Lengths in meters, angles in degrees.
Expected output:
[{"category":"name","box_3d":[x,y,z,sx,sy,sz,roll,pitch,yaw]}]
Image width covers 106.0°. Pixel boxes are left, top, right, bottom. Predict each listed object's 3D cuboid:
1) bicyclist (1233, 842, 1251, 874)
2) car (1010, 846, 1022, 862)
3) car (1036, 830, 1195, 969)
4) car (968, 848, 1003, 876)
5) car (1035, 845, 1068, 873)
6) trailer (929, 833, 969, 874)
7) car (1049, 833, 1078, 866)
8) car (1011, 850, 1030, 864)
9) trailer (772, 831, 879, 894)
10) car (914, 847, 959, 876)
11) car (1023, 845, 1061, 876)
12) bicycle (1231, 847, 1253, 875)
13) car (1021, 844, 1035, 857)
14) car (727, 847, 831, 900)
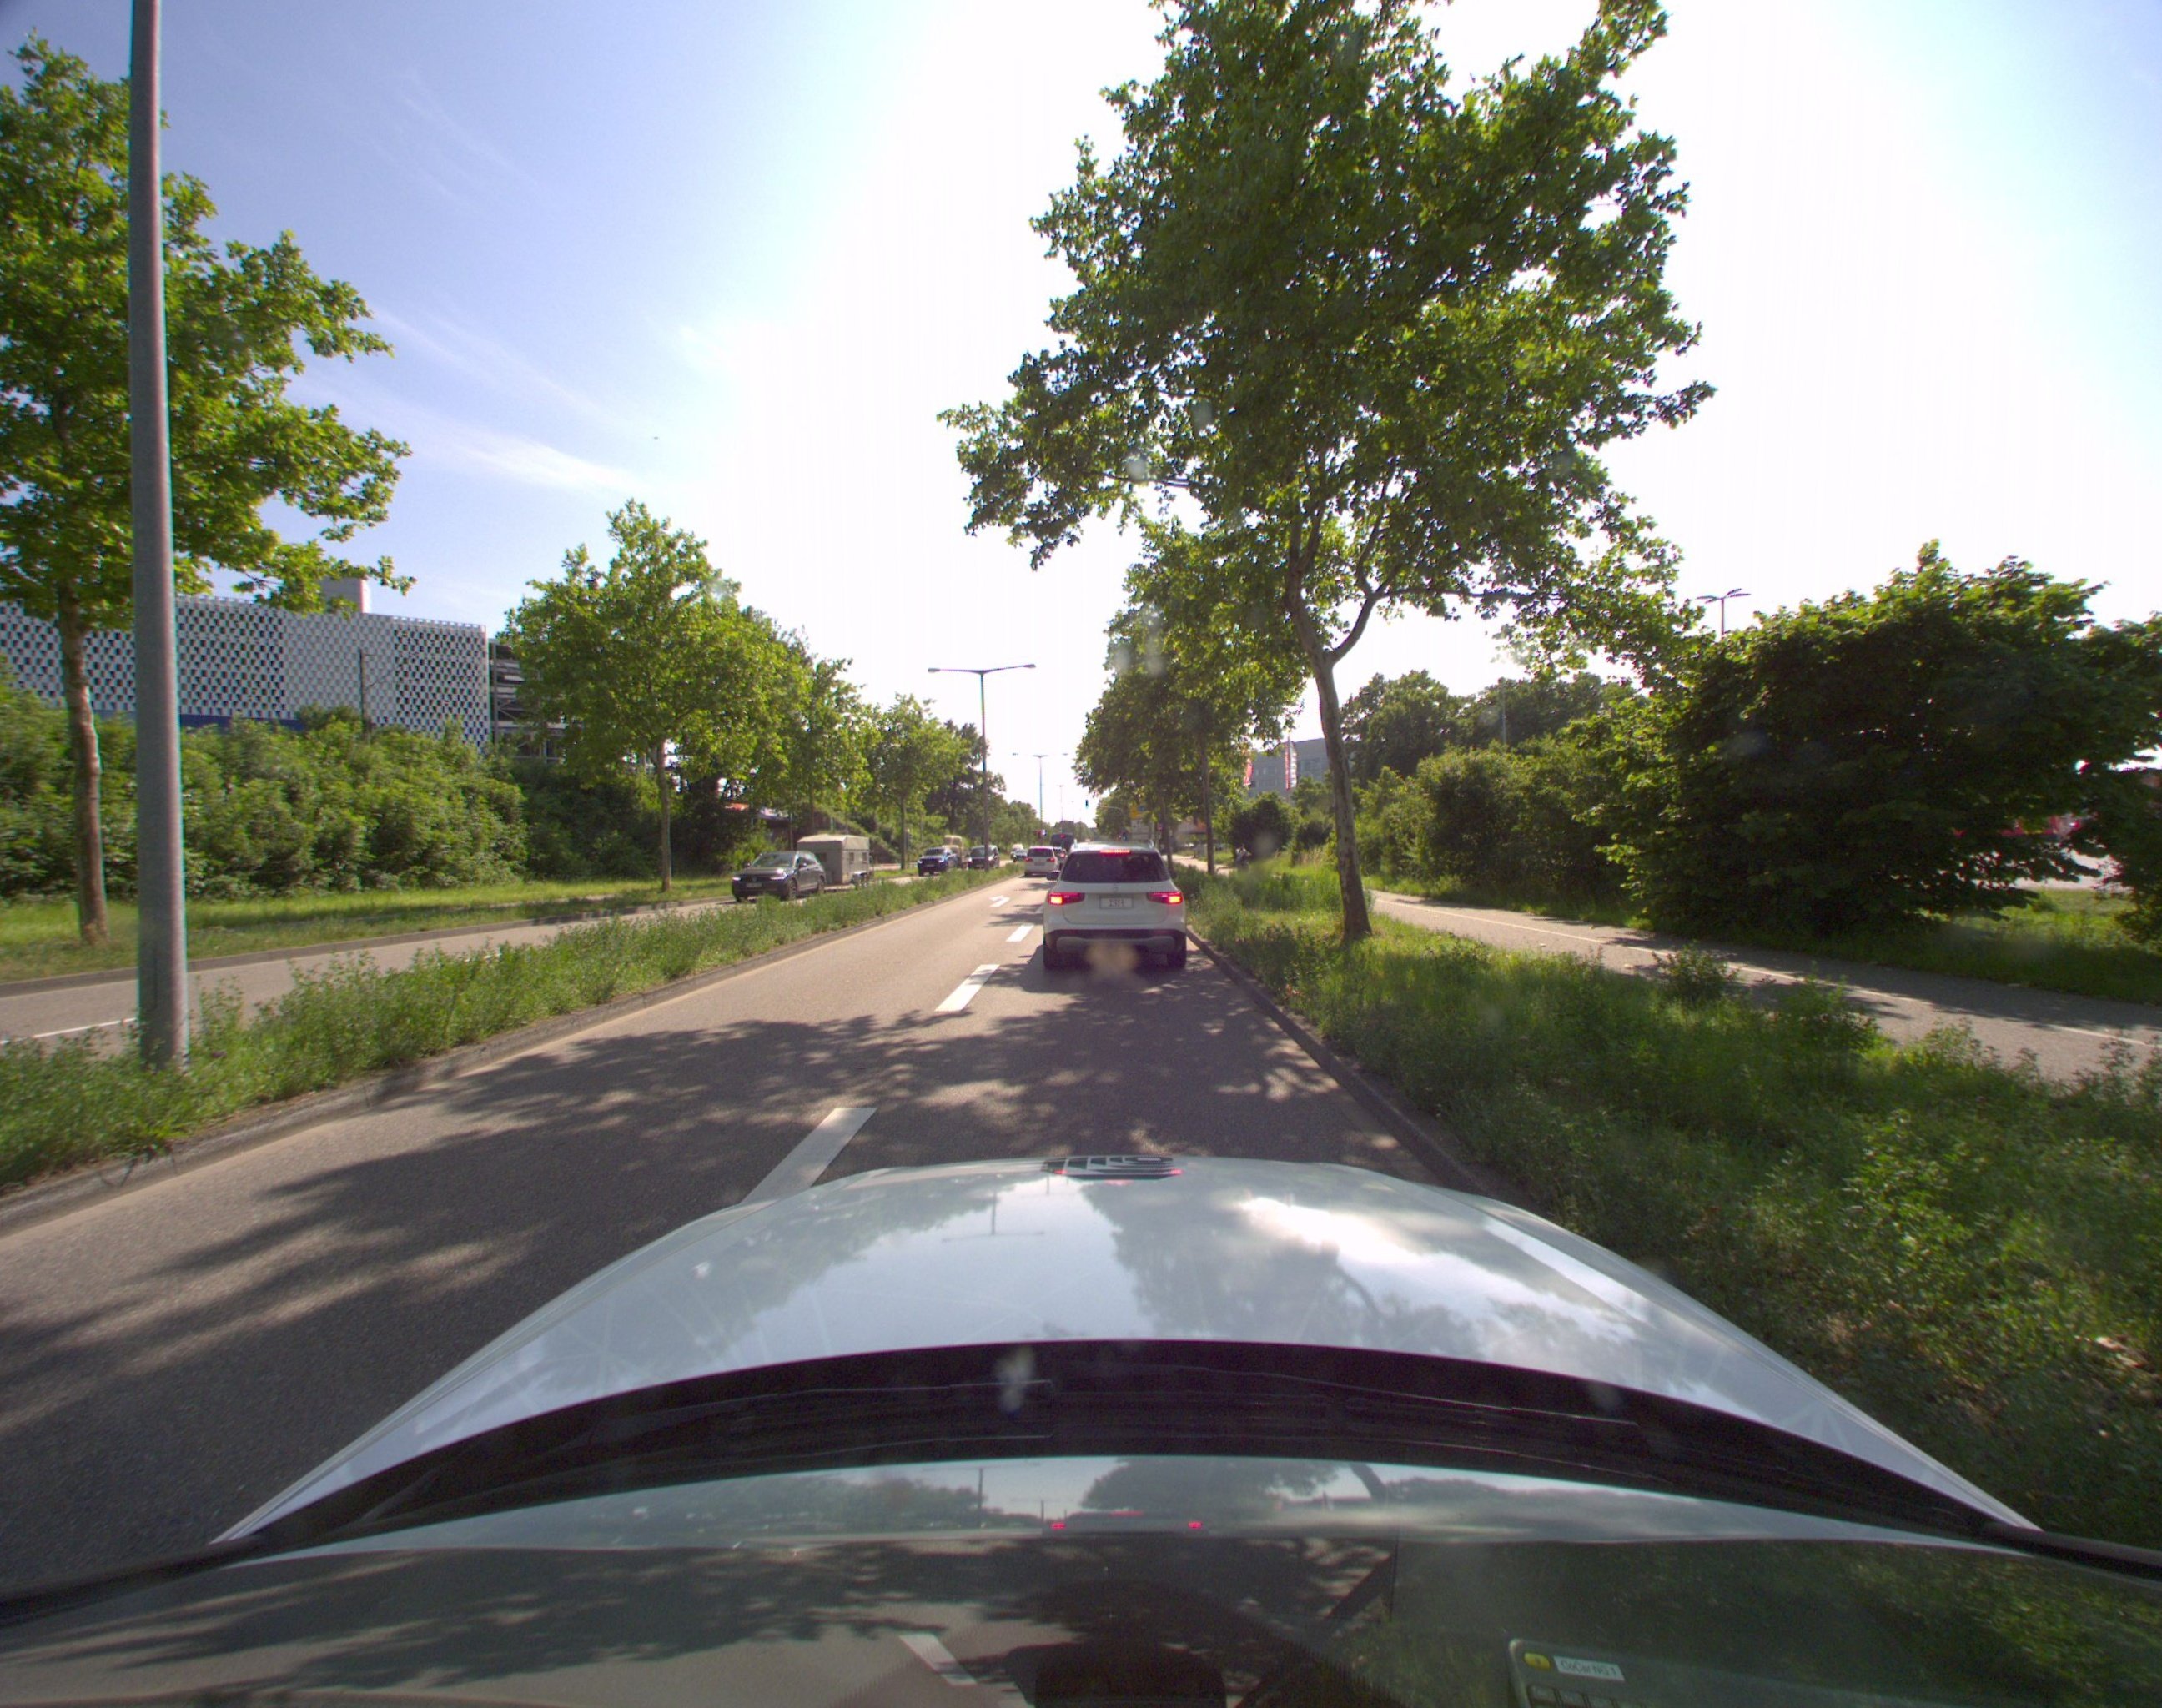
[{"category":"bicyclist","box_3d":[7.653,0.188,38.684,0.701,1.477,1.010,0,0,2]},{"category":"car","box_3d":[-10.384,-0.038,130.276,1.990,2.418,5.131,0,0,-4]},{"category":"car","box_3d":[0.471,0.528,11.640,1.846,1.607,4.002,-1,0,2]},{"category":"car","box_3d":[-6.484,0.533,55.458,1.724,1.809,4.234,1,0,2]},{"category":"car","box_3d":[-1.802,0.296,50.966,1.764,1.647,4.086,0,0,2]},{"category":"trailer","box_3d":[-9.287,-0.039,57.836,1.873,2.744,4.831,1,0,2]},{"category":"car","box_3d":[-1.392,-0.371,66.946,2.073,2.656,4.876,0,0,2]},{"category":"car","box_3d":[-6.628,0.286,89.235,1.596,1.472,3.792,0,0,2]},{"category":"trailer","box_3d":[-9.985,0.291,32.407,2.300,2.265,5.541,-1,0,2]},{"category":"car","box_3d":[-9.422,0.453,53.548,1.757,1.789,5.378,1,0,2]},{"category":"car","box_3d":[-2.090,0.335,44.800,1.764,1.647,4.354,0,0,2]},{"category":"bicycle","box_3d":[7.636,0.309,38.689,0.720,1.299,2.096,0,0,2]},{"category":"car","box_3d":[-7.981,-0.479,123.656,1.988,1.882,3.997,1,0,-2]},{"category":"car","box_3d":[-10.049,0.606,27.441,1.709,1.622,4.363,-1,0,2]}]
